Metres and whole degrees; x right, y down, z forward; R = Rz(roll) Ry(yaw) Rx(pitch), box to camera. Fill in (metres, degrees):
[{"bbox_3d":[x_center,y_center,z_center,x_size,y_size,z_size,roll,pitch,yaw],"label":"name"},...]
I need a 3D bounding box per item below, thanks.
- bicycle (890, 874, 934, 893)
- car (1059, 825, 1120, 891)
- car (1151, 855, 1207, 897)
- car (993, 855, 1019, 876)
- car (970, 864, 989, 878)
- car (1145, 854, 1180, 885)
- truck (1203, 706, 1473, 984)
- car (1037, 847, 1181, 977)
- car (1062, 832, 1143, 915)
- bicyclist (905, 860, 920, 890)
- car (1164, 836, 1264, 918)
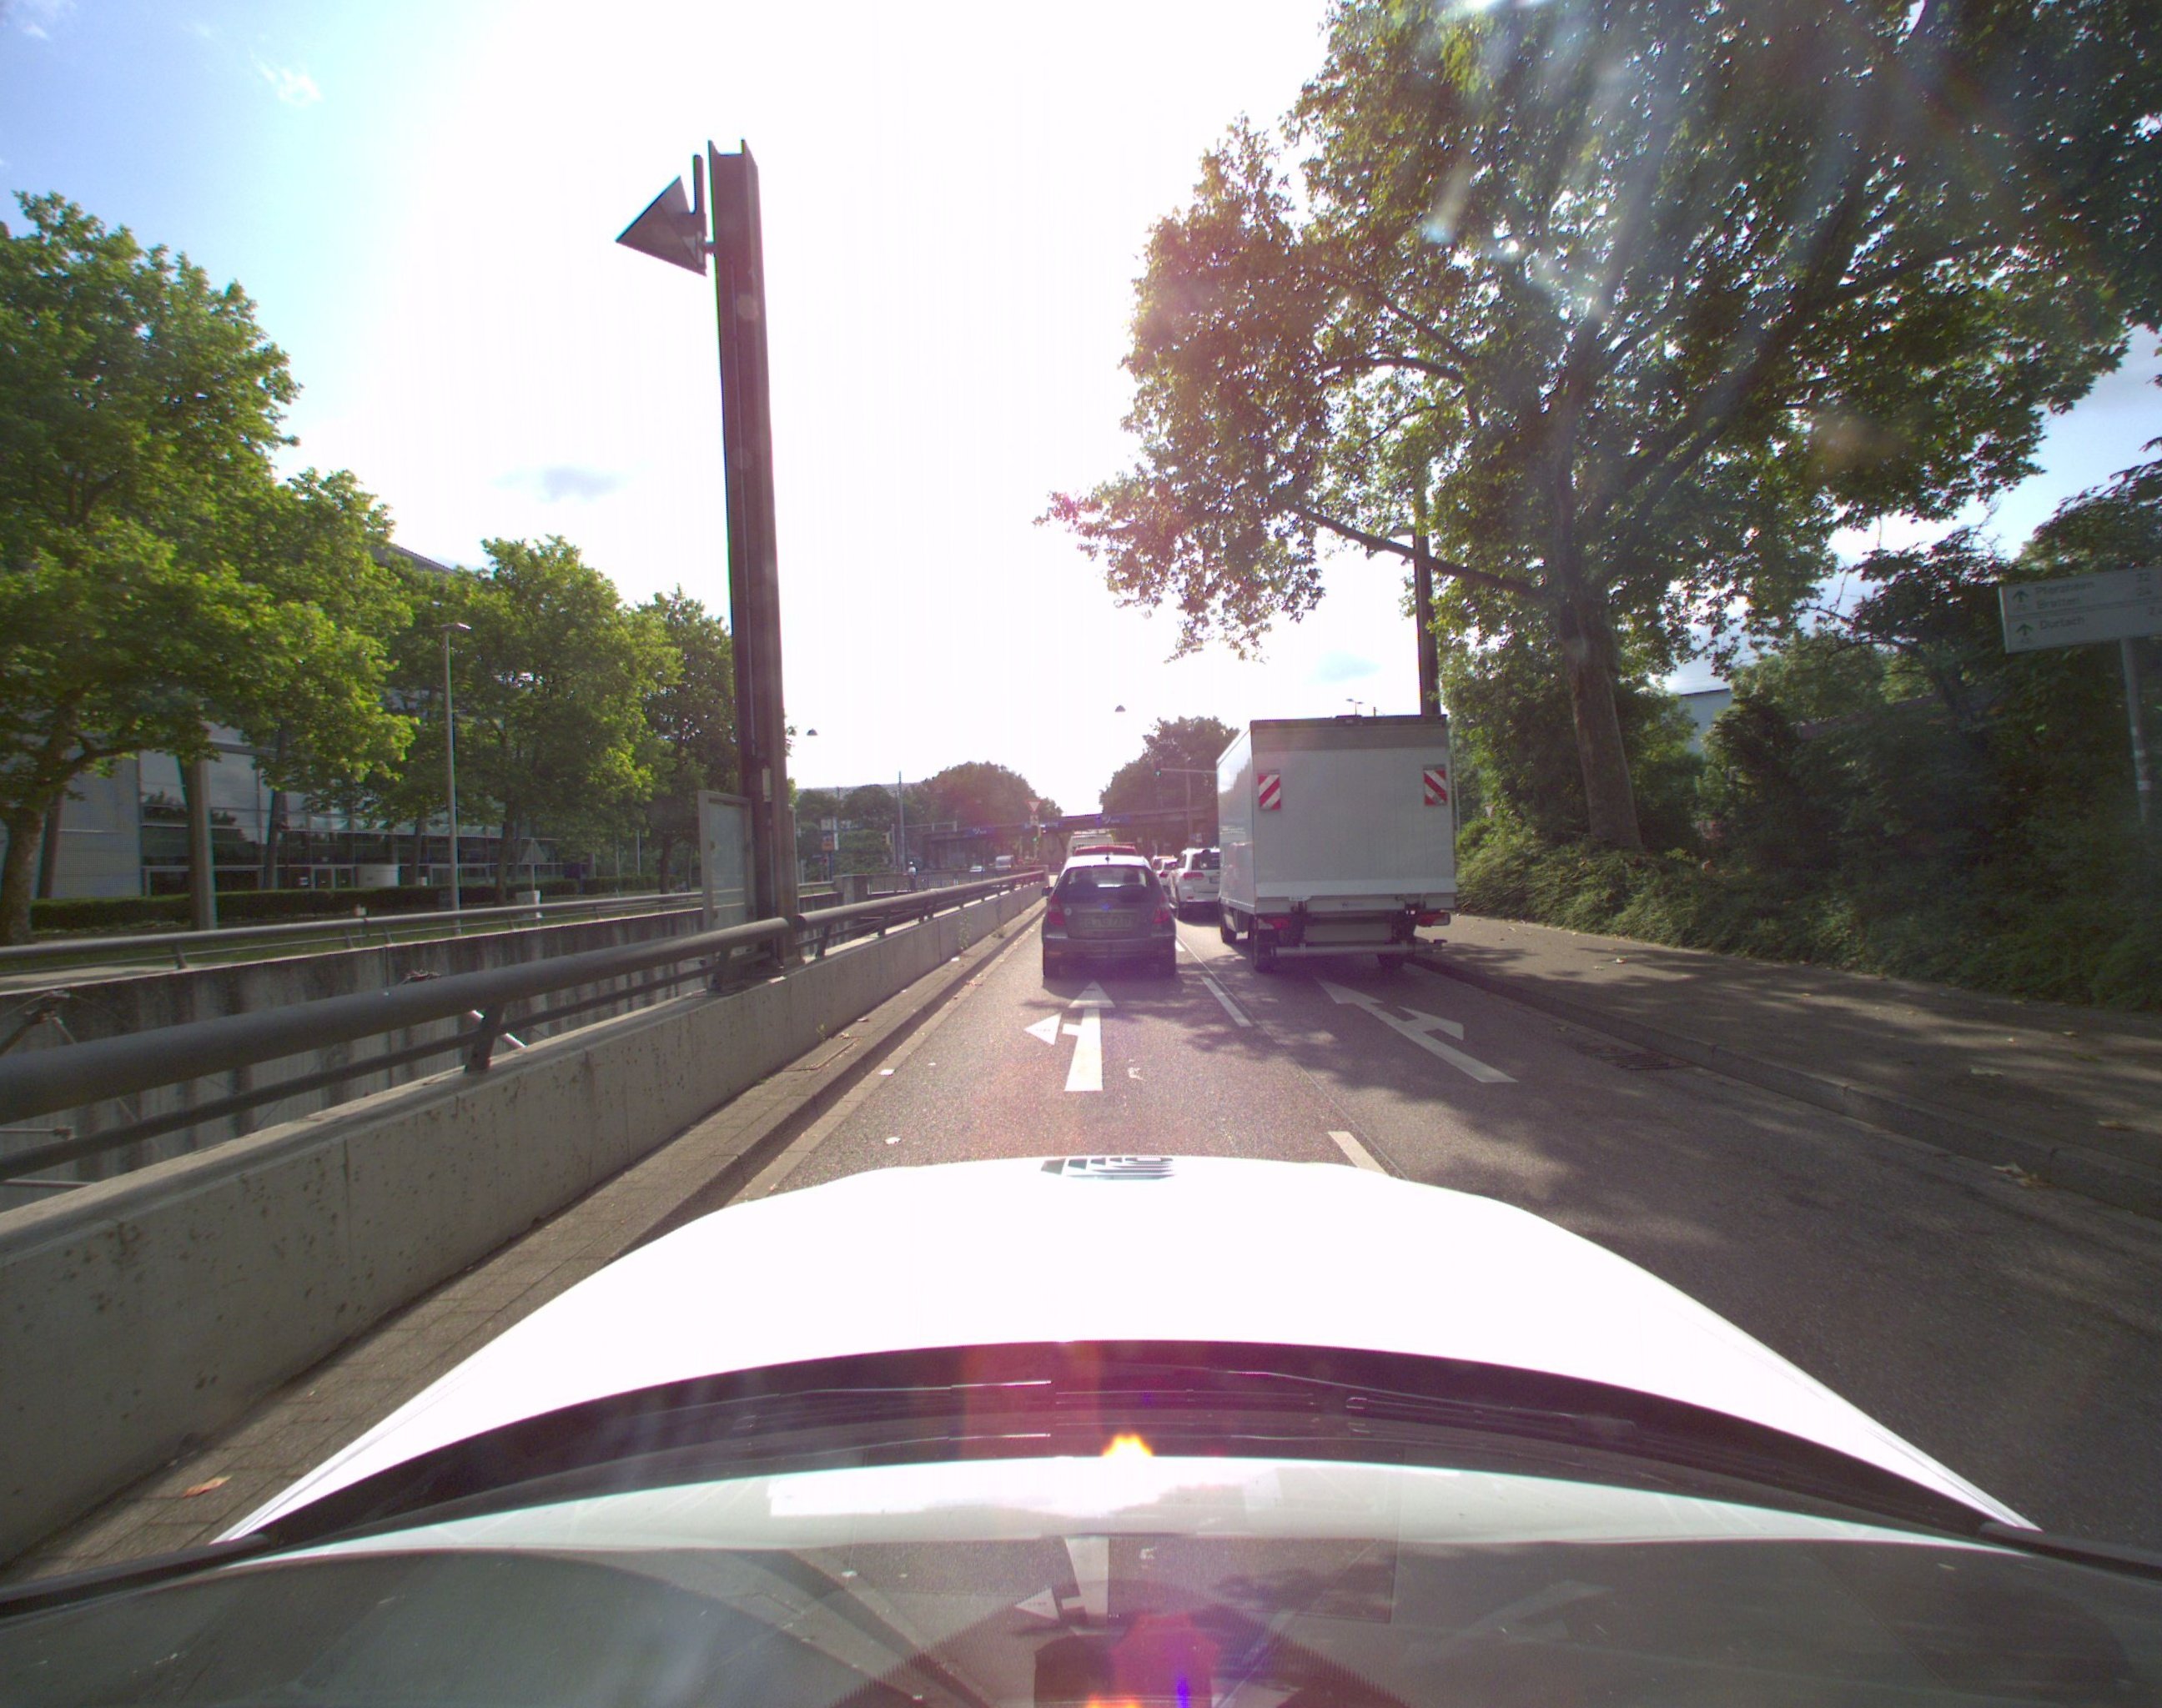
[{"bbox_3d":[-8.261,1.434,39.804,1.963,0.826,0.613,-2,-1,4],"label":"bicycle"},{"bbox_3d":[0.303,0.211,36.460,2.194,2.726,4.921,-1,-1,-5],"label":"car"},{"bbox_3d":[3.796,0.847,31.939,1.845,1.522,3.618,-1,-1,2],"label":"car"},{"bbox_3d":[-9.215,1.410,100.604,2.249,2.526,5.630,-2,-1,3],"label":"car"},{"bbox_3d":[-12.240,2.039,98.288,1.697,1.476,4.000,-5,-1,1],"label":"car"},{"bbox_3d":[4.195,0.806,42.287,1.538,1.522,3.618,-1,-1,2],"label":"car"},{"bbox_3d":[3.369,-0.069,12.320,2.437,3.121,6.033,-1,-1,3],"label":"truck"},{"bbox_3d":[0.406,0.719,12.016,1.785,1.608,3.800,0,0,2],"label":"car"},{"bbox_3d":[0.609,0.511,22.442,1.948,2.017,4.678,-1,-1,2],"label":"car"},{"bbox_3d":[-8.246,1.020,39.800,0.507,1.404,0.627,-2,-1,6],"label":"bicyclist"},{"bbox_3d":[3.343,0.590,21.294,1.987,1.901,4.510,-1,-1,2],"label":"car"}]
